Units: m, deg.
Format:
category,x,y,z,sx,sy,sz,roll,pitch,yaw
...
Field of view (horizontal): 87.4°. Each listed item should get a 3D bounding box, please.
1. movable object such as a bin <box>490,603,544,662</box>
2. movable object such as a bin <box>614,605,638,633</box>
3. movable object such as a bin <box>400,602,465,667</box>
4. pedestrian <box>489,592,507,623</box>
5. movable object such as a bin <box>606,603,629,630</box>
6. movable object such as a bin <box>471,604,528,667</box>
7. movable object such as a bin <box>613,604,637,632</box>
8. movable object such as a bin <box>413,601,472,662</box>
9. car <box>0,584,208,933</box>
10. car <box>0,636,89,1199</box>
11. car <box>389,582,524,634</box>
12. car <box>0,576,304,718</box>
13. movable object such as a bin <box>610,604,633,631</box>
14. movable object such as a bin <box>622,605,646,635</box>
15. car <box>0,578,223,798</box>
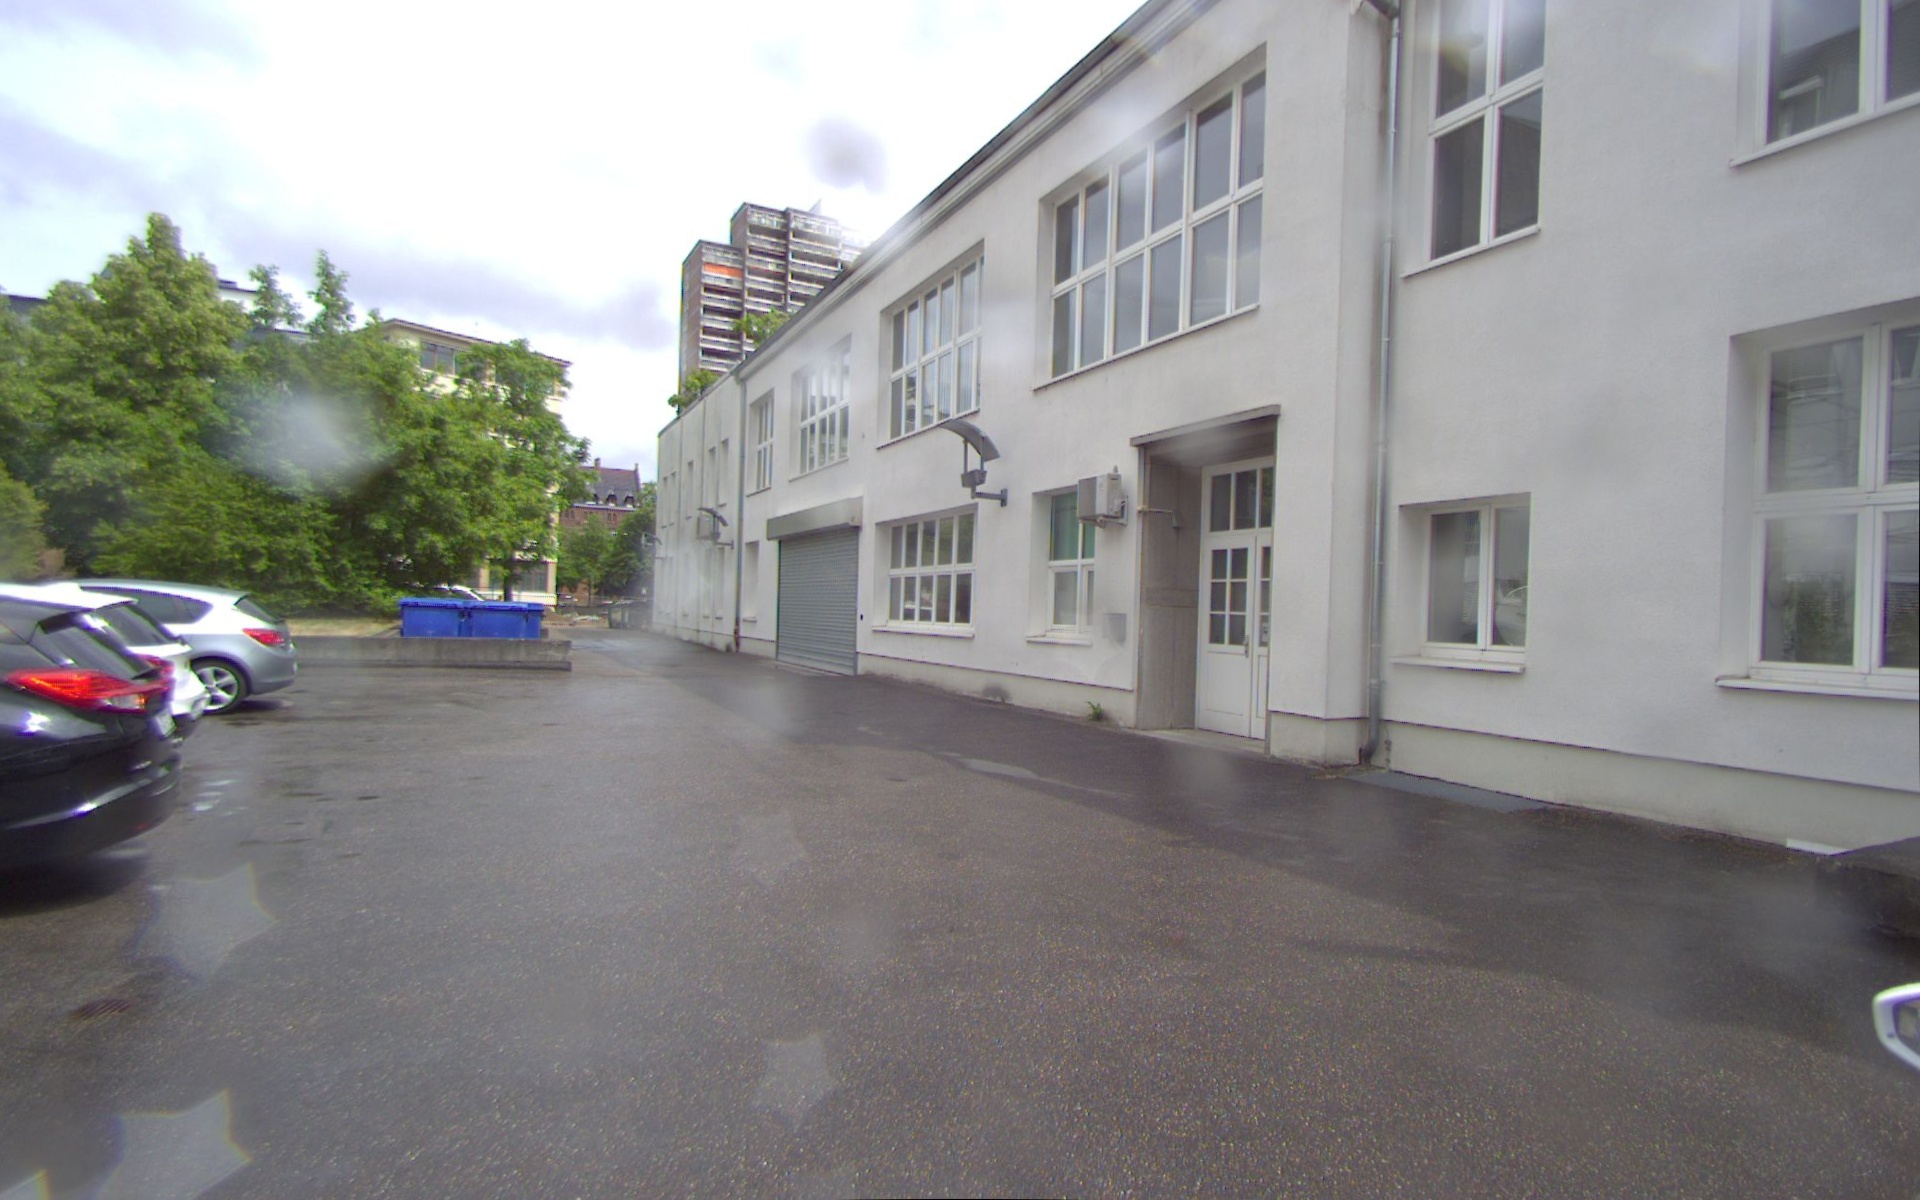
category,x,y,z,sx,sy,sz,roll,pitch,yaw
movable object such as a bin,-10.648,0.769,24.180,1.115,1.346,1.201,2,0,-24
movable object such as a bin,-16.710,0.936,50.261,1.031,1.374,1.201,2,0,-23
movable object such as a bin,-11.438,0.743,21.821,1.115,1.346,1.201,2,0,-24
pedestrian,-27.524,0.454,59.778,0.851,1.838,0.856,1,0,-31
movable object such as a bin,-18.481,0.879,54.183,1.051,1.374,1.257,2,0,-23
movable object such as a bin,-10.253,0.787,22.404,1.080,1.343,1.201,2,0,-23
movable object such as a bin,-17.192,0.920,51.545,1.048,1.374,1.211,2,0,-23
movable object such as a bin,-12.023,0.725,23.386,1.115,1.346,1.201,2,0,-24
car,-5.878,0.594,4.132,4.271,1.461,1.747,4,-1,-33
car,-3.364,0.666,0.234,4.480,1.370,1.747,3,-1,-32
car,-18.556,0.301,37.222,4.271,1.750,1.713,2,0,-22
car,-10.074,0.509,11.447,4.271,1.461,1.747,4,-1,-33
movable object such as a bin,-17.865,0.899,52.963,1.051,1.374,1.257,2,0,-23
movable object such as a bin,-15.843,0.964,48.810,0.965,1.374,0.914,2,0,-23
car,-7.764,0.540,6.956,4.080,1.461,1.682,3,-1,-32
